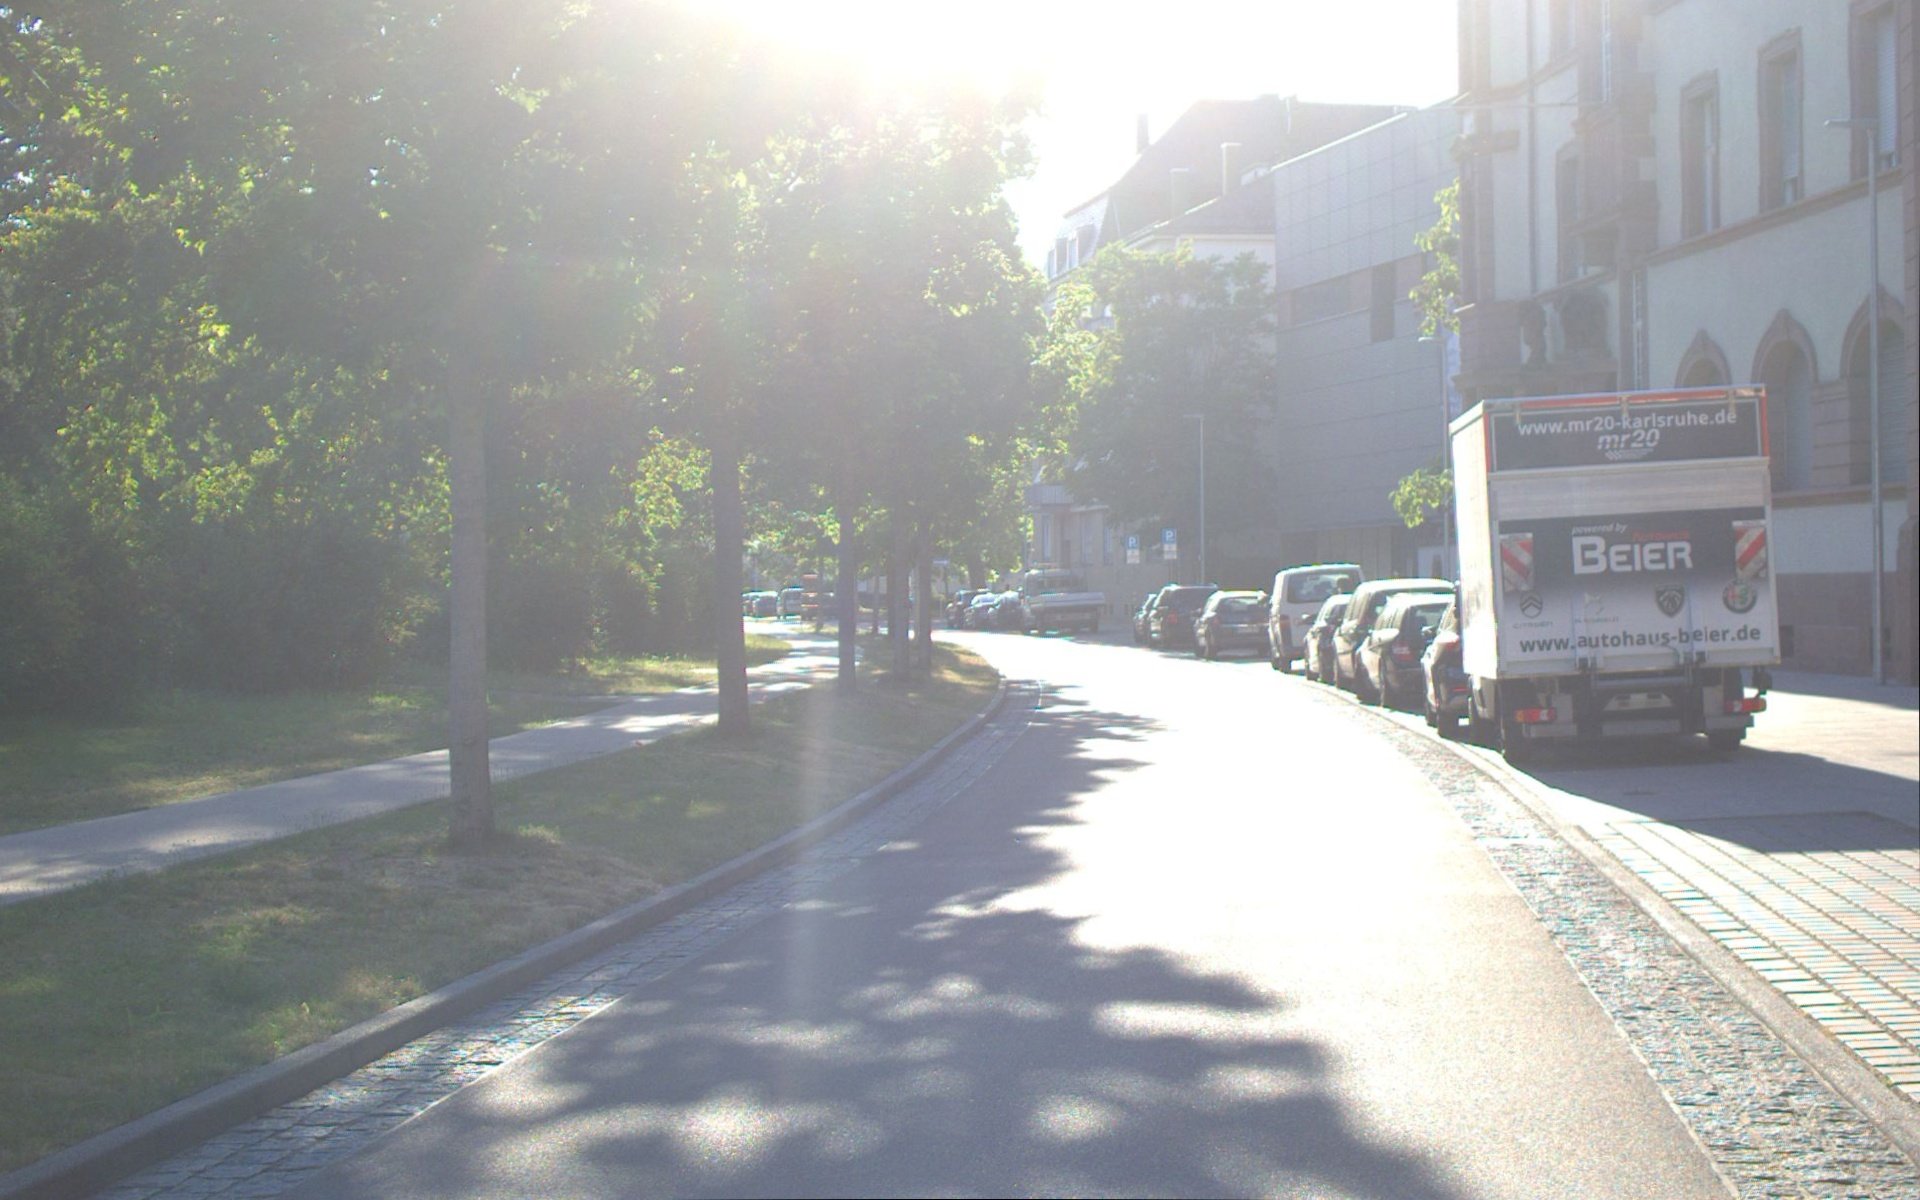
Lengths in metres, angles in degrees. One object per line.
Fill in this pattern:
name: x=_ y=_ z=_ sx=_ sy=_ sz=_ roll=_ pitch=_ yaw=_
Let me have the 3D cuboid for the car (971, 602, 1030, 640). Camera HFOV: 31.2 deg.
car: x=1.554 y=0.802 z=134.040 sx=1.690 sy=1.435 sz=4.105 roll=-1 pitch=0 yaw=-8

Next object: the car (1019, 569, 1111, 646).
car: x=3.571 y=0.248 z=118.366 sx=2.211 sy=2.521 sz=6.148 roll=-2 pitch=0 yaw=-6

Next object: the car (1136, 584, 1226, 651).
car: x=5.703 y=0.429 z=89.149 sx=1.724 sy=1.663 sz=4.114 roll=-1 pitch=0 yaw=-4

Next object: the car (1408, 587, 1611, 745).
car: x=5.799 y=0.659 z=36.701 sx=1.768 sy=1.525 sz=4.571 roll=-2 pitch=0 yaw=5

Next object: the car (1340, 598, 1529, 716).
car: x=6.237 y=0.718 z=45.631 sx=1.871 sy=1.431 sz=4.522 roll=-2 pitch=0 yaw=0

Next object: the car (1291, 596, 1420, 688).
car: x=6.435 y=0.665 z=56.234 sx=1.679 sy=1.398 sz=4.199 roll=-2 pitch=0 yaw=1

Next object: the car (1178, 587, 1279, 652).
car: x=6.130 y=0.426 z=78.926 sx=1.747 sy=1.461 sz=4.478 roll=0 pitch=0 yaw=-3

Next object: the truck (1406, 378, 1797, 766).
truck: x=5.594 y=-0.237 z=30.930 sx=2.624 sy=3.110 sz=6.087 roll=-1 pitch=0 yaw=3

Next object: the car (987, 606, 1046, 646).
car: x=2.113 y=0.953 z=129.403 sx=1.690 sy=1.435 sz=3.551 roll=-1 pitch=0 yaw=-8

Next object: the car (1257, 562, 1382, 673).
car: x=6.957 y=0.338 z=66.943 sx=1.994 sy=1.959 sz=4.849 roll=-3 pitch=0 yaw=2

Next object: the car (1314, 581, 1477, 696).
car: x=6.437 y=0.553 z=51.208 sx=1.816 sy=1.597 sz=4.192 roll=-2 pitch=0 yaw=0

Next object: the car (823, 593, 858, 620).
car: x=-6.714 y=0.358 z=192.904 sx=1.793 sy=1.505 sz=4.000 roll=0 pitch=0 yaw=-4
